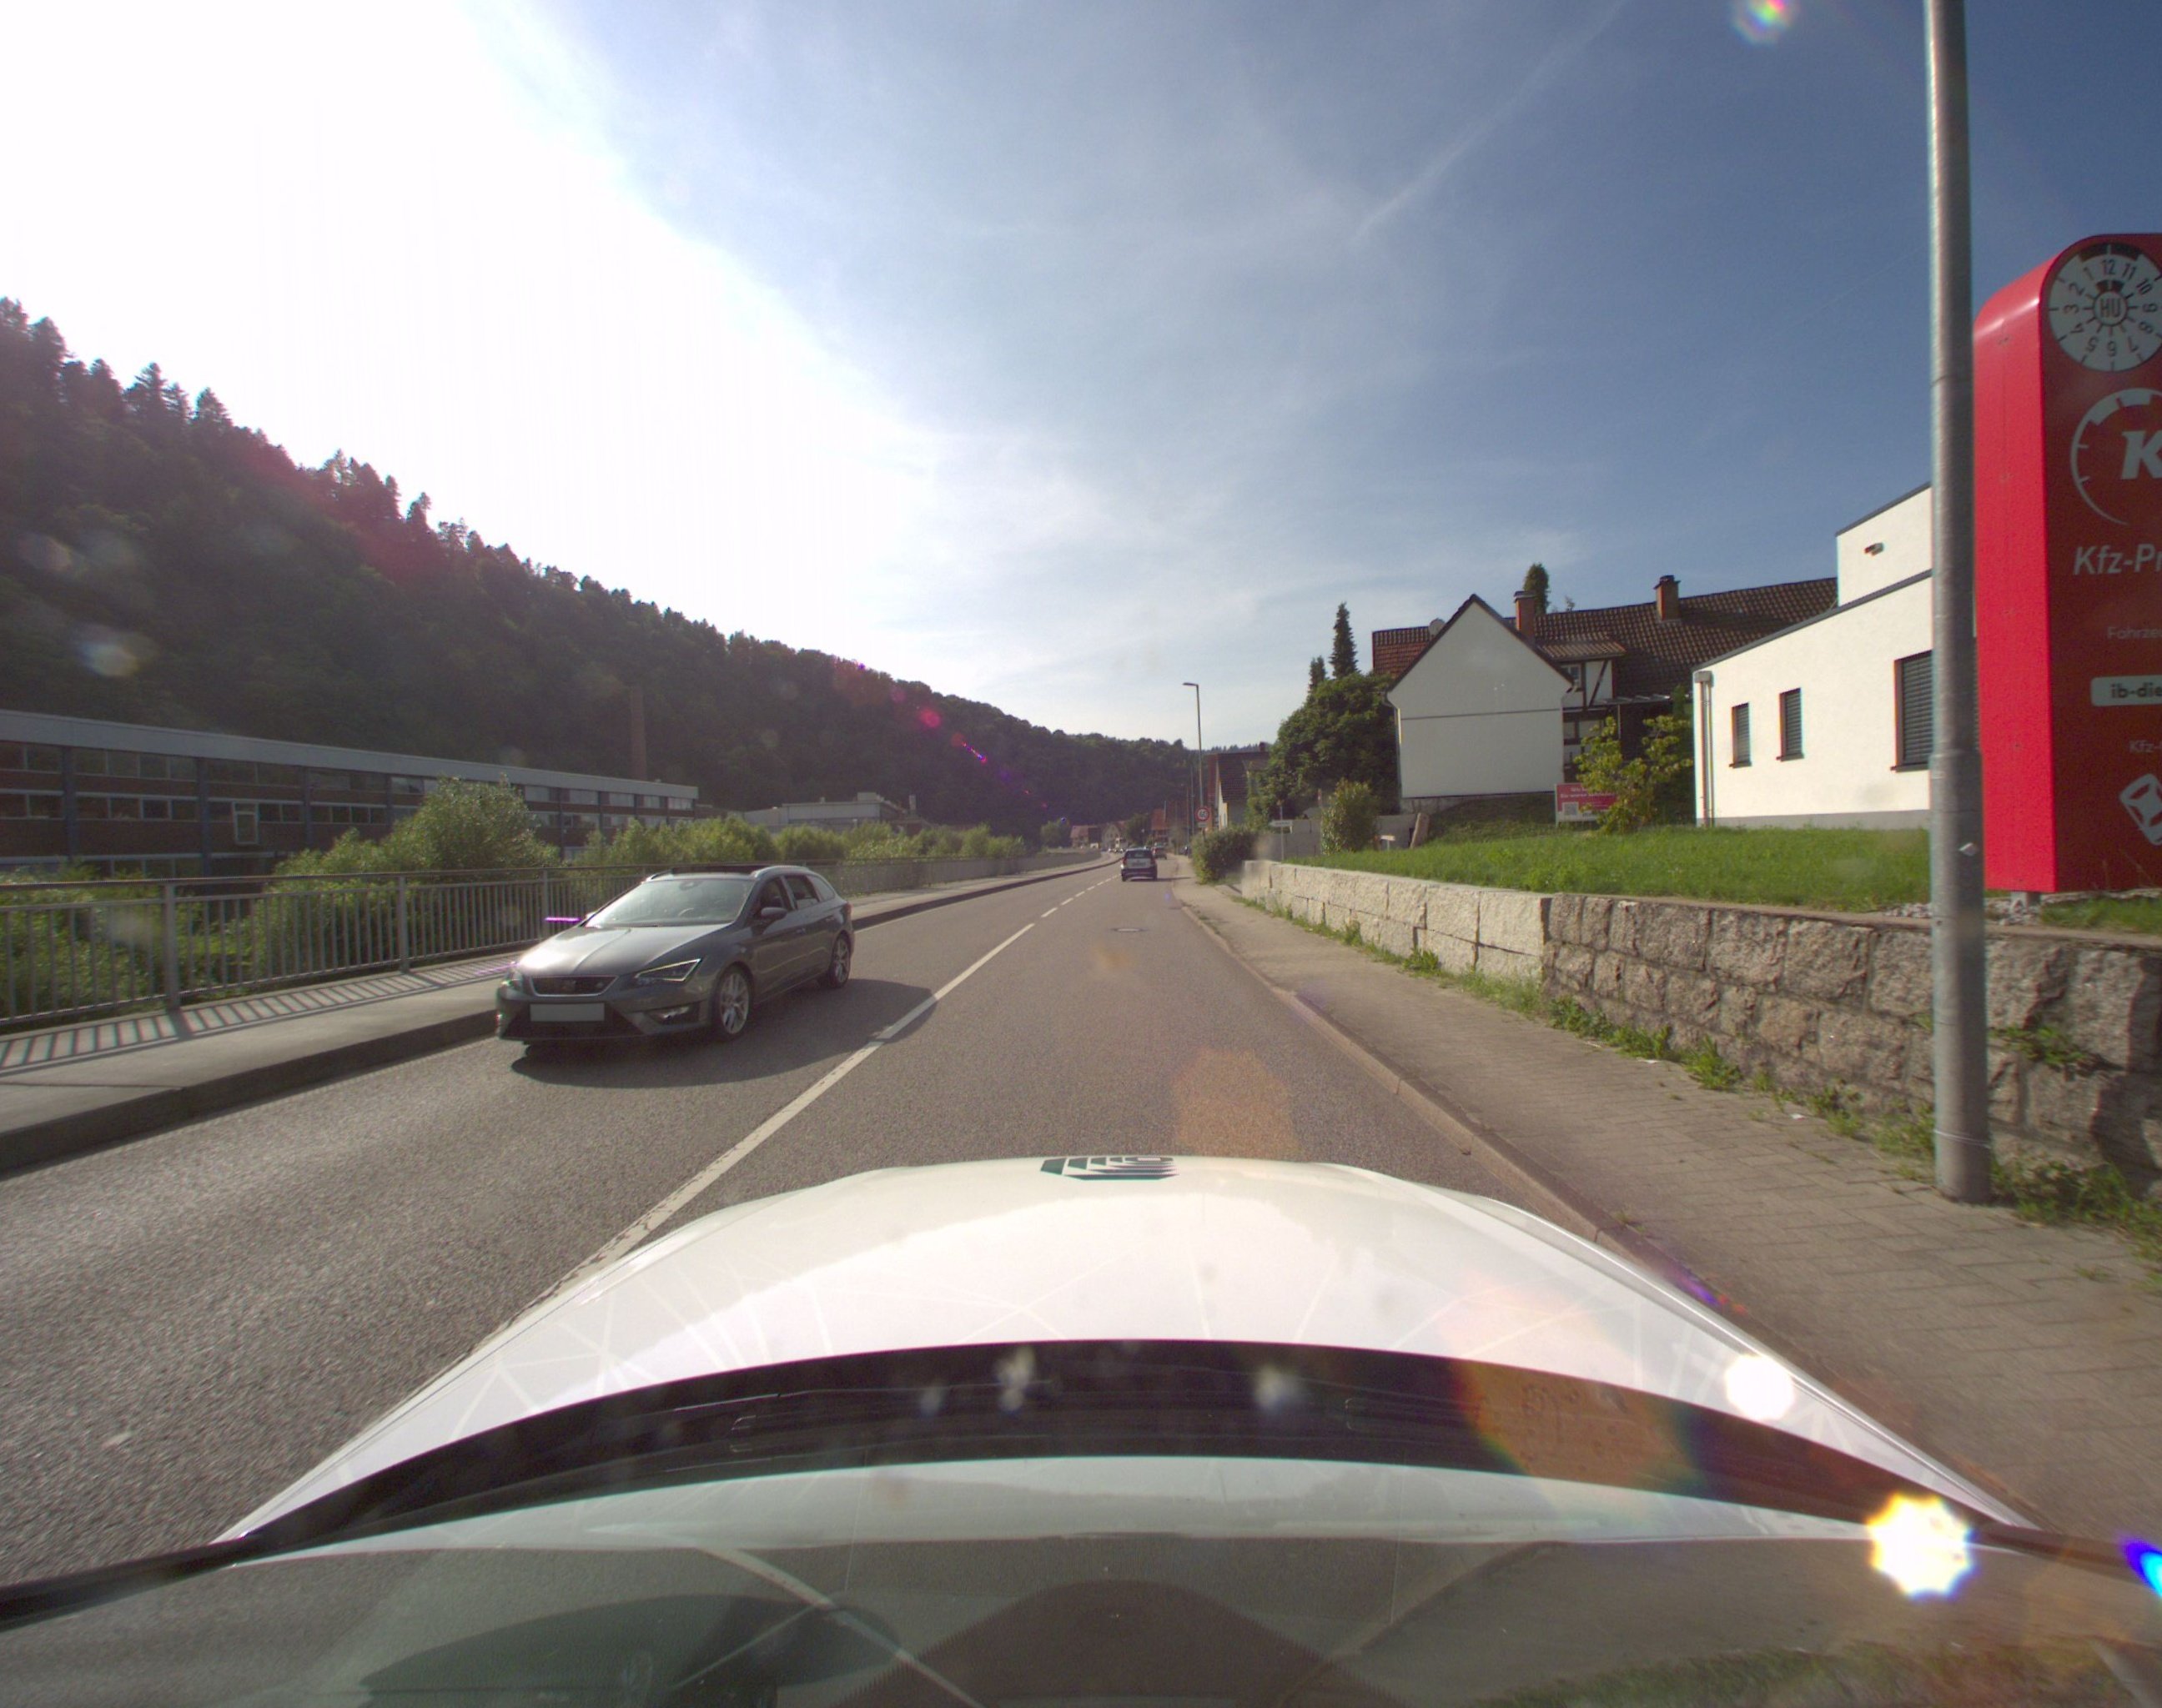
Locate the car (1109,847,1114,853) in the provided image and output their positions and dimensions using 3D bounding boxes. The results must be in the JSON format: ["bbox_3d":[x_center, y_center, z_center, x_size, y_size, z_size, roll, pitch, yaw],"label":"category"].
[{"bbox_3d":[8.313,-1.075,219.569,1.359,1.278,3.085,-2,-1,2],"label":"car"}]

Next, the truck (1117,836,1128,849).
[{"bbox_3d":[11.413,-3.145,223.907,2.718,3.374,6.484,-2,1,3],"label":"truck"}]

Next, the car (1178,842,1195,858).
[{"bbox_3d":[11.370,-0.385,87.835,1.600,1.646,3.661,-2,-1,10],"label":"car"}]

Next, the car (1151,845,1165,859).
[{"bbox_3d":[9.337,-0.209,98.792,1.614,1.541,3.283,-2,-1,5],"label":"car"}]

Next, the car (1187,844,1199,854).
[{"bbox_3d":[15.306,-0.677,111.341,1.535,1.216,3.285,-2,-1,9],"label":"car"}]

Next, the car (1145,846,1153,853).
[{"bbox_3d":[12.082,-0.797,144.664,1.358,1.278,3.086,-2,-1,4],"label":"car"}]

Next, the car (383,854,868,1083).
[{"bbox_3d":[-3.695,0.796,7.869,1.806,1.484,4.800,-2,-1,2],"label":"car"}]

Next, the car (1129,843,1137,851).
[{"bbox_3d":[12.368,-1.732,192.402,1.665,1.752,3.455,-2,1,6],"label":"car"}]

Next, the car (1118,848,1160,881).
[{"bbox_3d":[3.050,0.519,41.934,1.850,1.544,4.383,-2,0,8],"label":"car"}]
